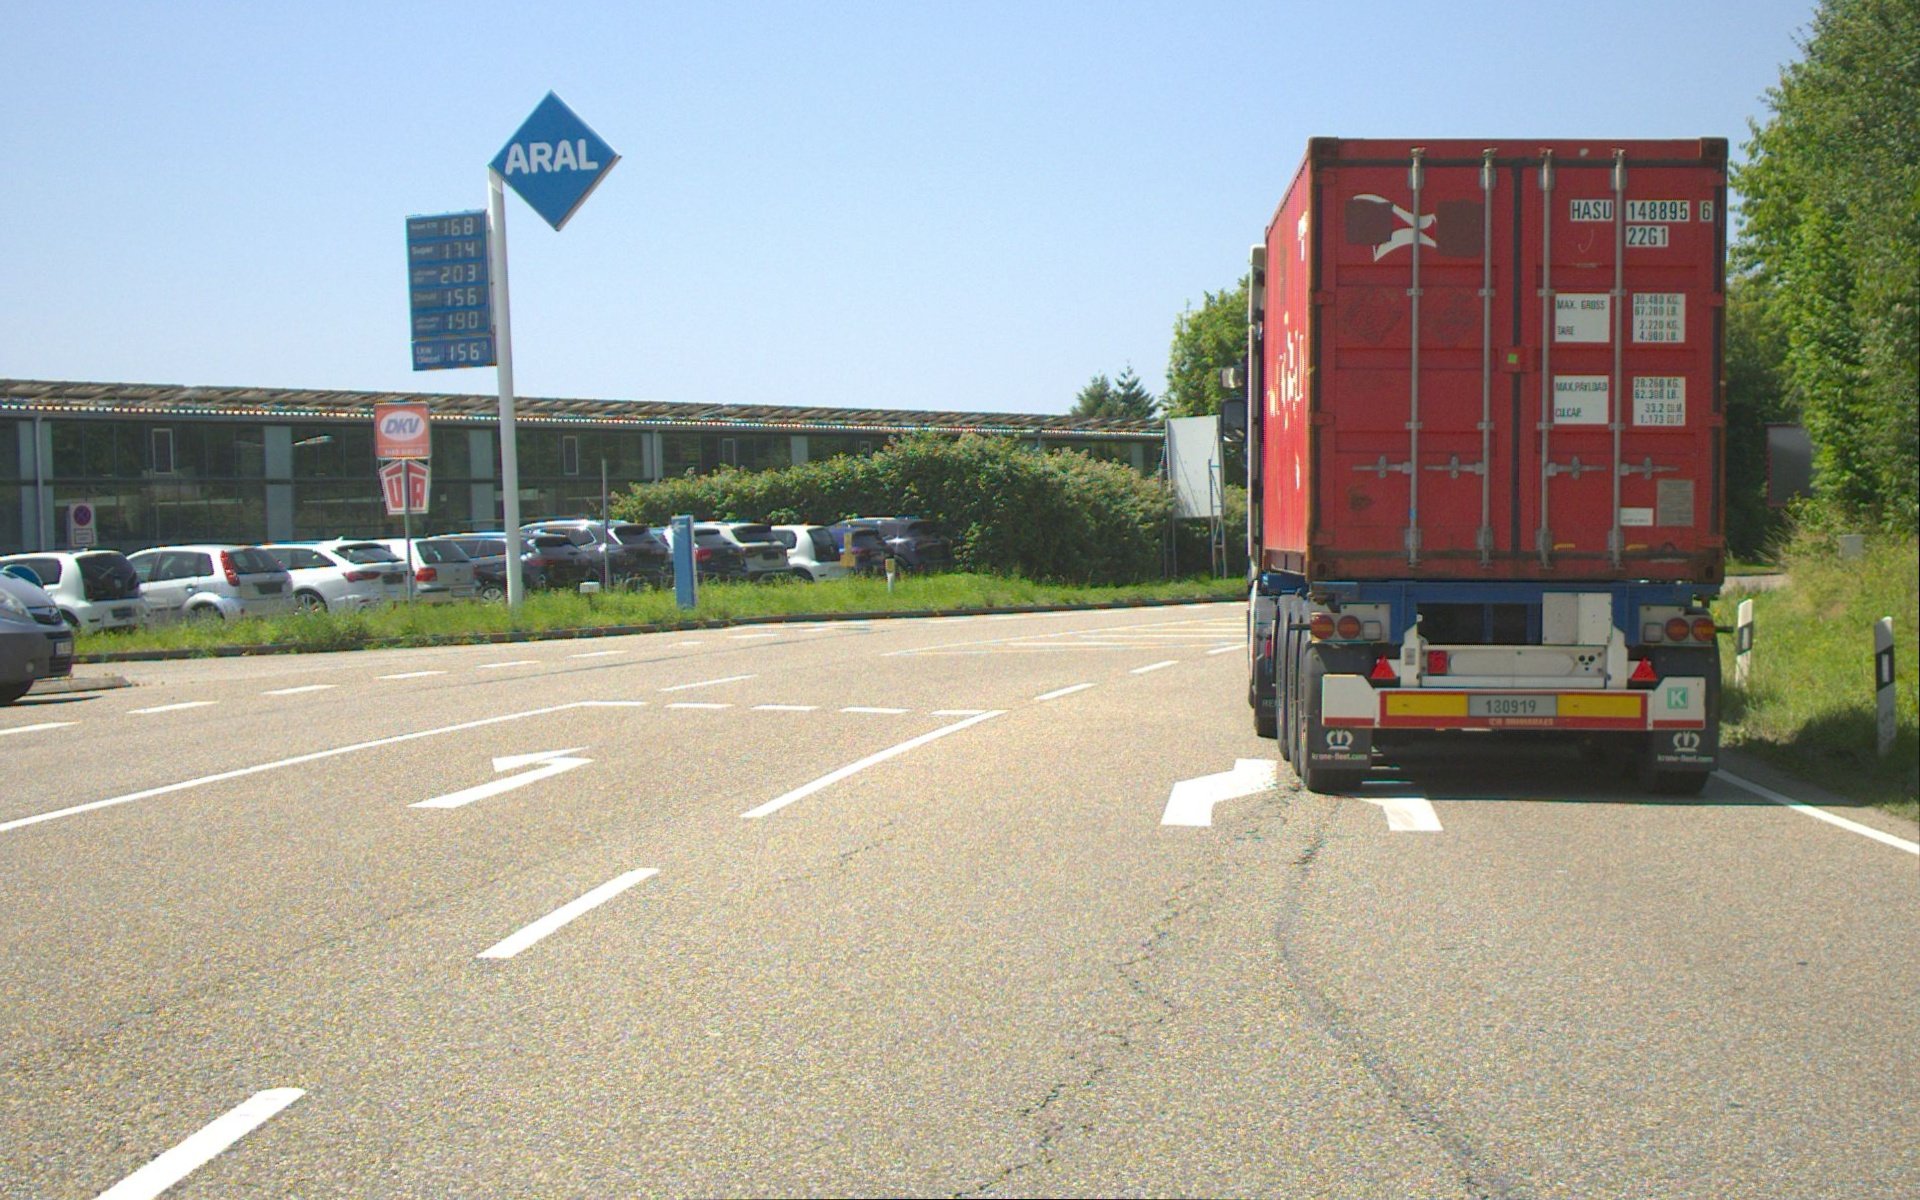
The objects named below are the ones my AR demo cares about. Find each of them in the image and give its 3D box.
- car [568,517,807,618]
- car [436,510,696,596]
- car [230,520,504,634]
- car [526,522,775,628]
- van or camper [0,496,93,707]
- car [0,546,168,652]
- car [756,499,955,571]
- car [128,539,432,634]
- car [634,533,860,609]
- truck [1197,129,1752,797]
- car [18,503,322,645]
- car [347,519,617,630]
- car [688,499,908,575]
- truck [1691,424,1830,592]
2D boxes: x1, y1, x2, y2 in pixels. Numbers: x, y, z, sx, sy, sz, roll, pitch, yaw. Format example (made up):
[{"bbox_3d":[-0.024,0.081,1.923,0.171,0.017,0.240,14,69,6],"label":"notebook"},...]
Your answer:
[{"bbox_3d":[-5.166,-0.620,65.128,3.992,1.744,1.997,-2,1,27],"label":"car"},{"bbox_3d":[-6.827,-0.816,59.525,3.992,1.327,1.997,-2,1,27],"label":"car"},{"bbox_3d":[-9.634,-0.368,55.833,3.993,1.744,1.932,-1,1,27],"label":"car"},{"bbox_3d":[-5.628,-0.454,62.435,3.992,1.744,1.997,-2,1,27],"label":"car"},{"bbox_3d":[-10.792,0.098,32.103,4.847,1.898,1.904,-2,0,1],"label":"van or camper"},{"bbox_3d":[-13.299,-0.008,49.450,3.447,1.436,1.561,-1,1,24],"label":"car"},{"bbox_3d":[-2.170,-1.360,71.495,3.702,1.368,1.801,2,2,27],"label":"car"},{"bbox_3d":[-10.557,-0.216,53.390,4.242,1.354,1.997,-1,1,25],"label":"car"},{"bbox_3d":[-4.170,-0.566,67.339,3.992,1.313,1.831,-2,1,24],"label":"car"},{"bbox_3d":[3.430,-0.932,26.541,2.648,3.793,13.359,2,1,2],"label":"truck"},{"bbox_3d":[-11.806,-0.387,51.403,3.992,2.007,1.997,-1,1,25],"label":"car"},{"bbox_3d":[-7.948,-0.422,57.200,3.993,1.744,1.997,-1,1,27],"label":"car"},{"bbox_3d":[-3.265,-1.264,69.289,3.992,1.357,1.818,-2,1,24],"label":"car"},{"bbox_3d":[19.603,-2.214,83.637,2.923,3.704,13.351,-1,1,14],"label":"truck"}]
